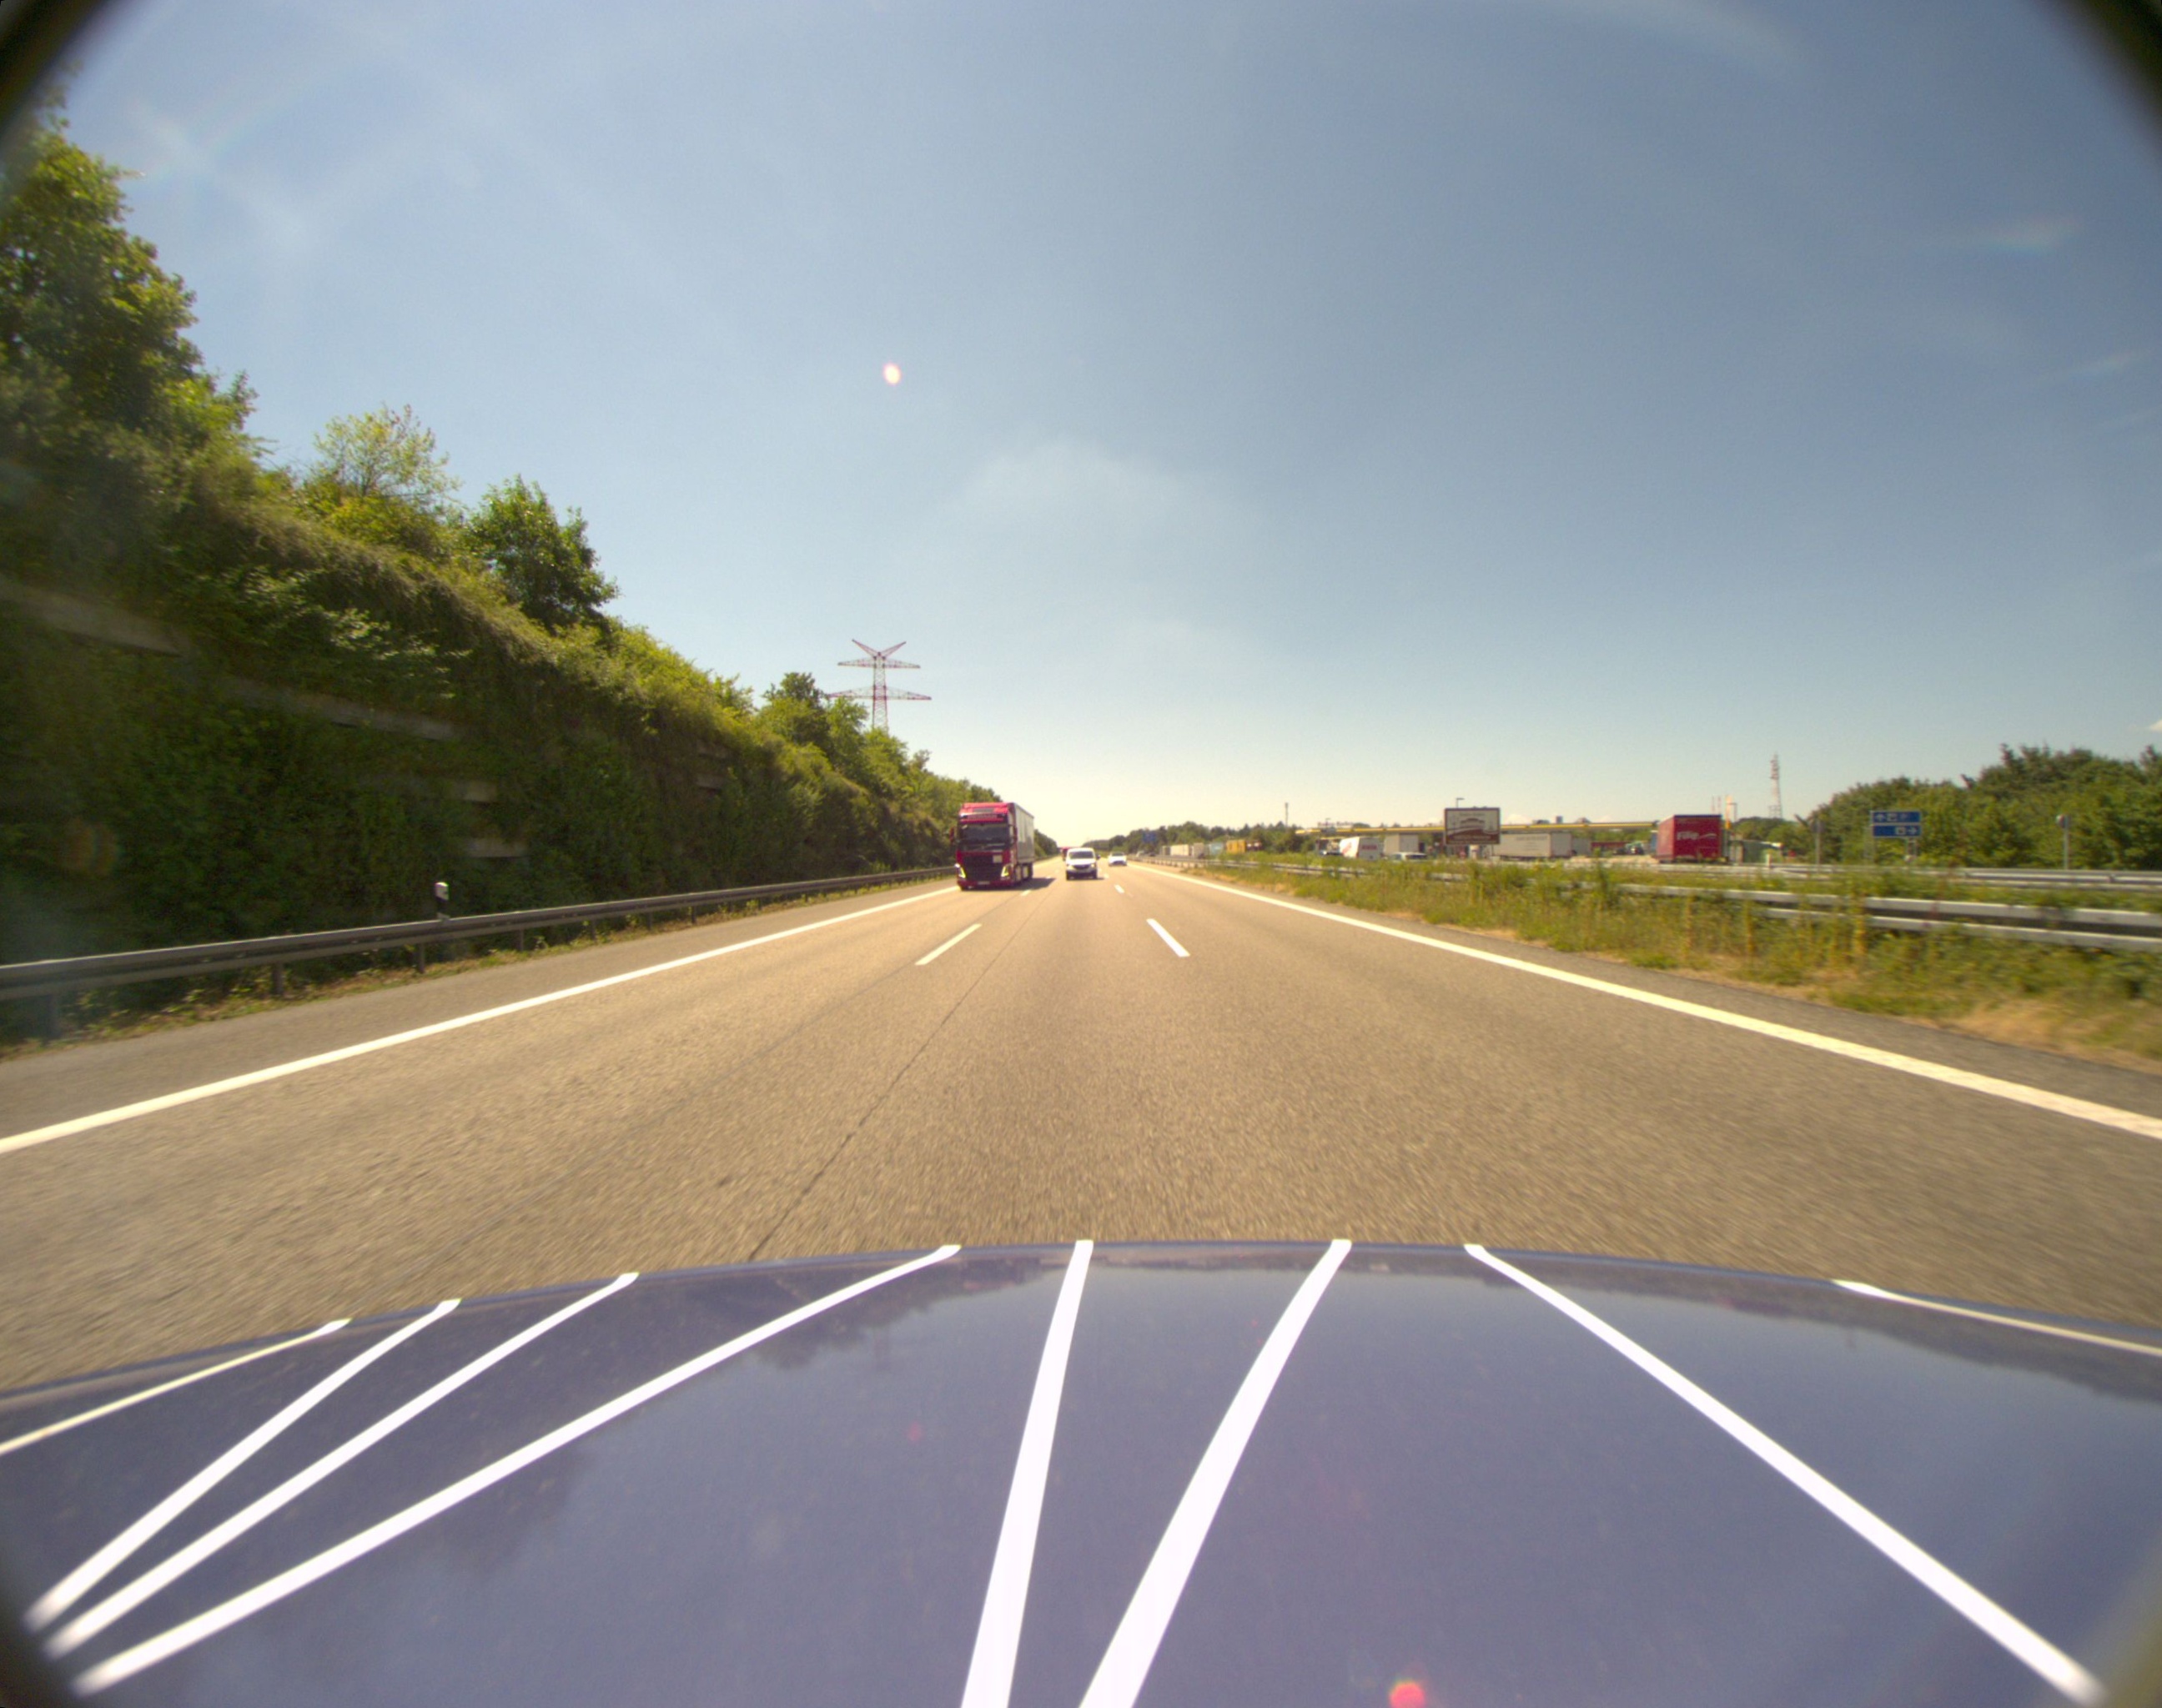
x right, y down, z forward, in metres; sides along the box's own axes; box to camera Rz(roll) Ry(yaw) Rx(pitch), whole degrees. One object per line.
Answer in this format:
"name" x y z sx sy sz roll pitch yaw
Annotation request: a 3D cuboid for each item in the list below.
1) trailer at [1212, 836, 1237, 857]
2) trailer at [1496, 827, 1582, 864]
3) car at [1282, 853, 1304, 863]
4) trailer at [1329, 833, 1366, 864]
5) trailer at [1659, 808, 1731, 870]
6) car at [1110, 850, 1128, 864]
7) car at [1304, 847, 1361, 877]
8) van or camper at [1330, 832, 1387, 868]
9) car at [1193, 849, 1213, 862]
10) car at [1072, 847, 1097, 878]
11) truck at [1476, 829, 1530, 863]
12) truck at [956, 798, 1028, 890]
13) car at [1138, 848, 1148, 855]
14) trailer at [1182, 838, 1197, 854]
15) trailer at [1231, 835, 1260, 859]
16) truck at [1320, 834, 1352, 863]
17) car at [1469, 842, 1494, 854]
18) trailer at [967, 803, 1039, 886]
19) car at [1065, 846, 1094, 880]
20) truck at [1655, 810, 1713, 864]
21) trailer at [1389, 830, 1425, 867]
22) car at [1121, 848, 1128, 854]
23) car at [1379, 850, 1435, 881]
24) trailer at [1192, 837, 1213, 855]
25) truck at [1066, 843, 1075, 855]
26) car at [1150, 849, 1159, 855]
"trailer" 31.252 -1.612 165.593 2.840 4.124 12.081 -3 0 -1
"trailer" 57.999 -1.069 96.843 3.309 4.332 12.921 -3 0 2
"car" 31.623 0.587 113.442 1.817 1.480 4.508 -3 0 0
"trailer" 44.513 -0.938 127.146 3.040 4.822 9.134 -3 1 2
"trailer" 44.927 -1.178 55.959 3.123 4.032 11.334 -2 1 34
"car" 3.980 0.280 79.774 1.775 1.410 3.401 -3 0 1
"car" 13.894 0.391 42.195 1.783 1.487 4.056 -3 0 1
"van or camper" 21.478 -0.328 59.182 2.064 2.510 6.389 -3 0 1
"car" 17.853 0.246 111.110 1.958 1.799 5.046 -3 0 -1
"car" 0.220 0.515 47.387 1.413 1.795 3.200 -3 1 0
"truck" 58.287 -1.142 105.147 3.309 4.332 7.625 -3 1 2
"truck" -4.101 -0.451 36.492 2.505 3.897 7.096 -2 1 0
"car" 13.575 -0.488 166.235 1.722 1.520 4.666 1 0 0
"trailer" 30.238 -2.118 212.302 2.605 4.194 10.513 -3 0 0
"trailer" 31.134 -1.363 144.134 2.840 4.195 11.081 -3 0 -1
"truck" 44.699 -0.981 133.396 3.033 4.822 7.878 -3 1 2
"car" 71.095 -1.012 134.850 1.817 1.976 4.782 -3 0 0
"trailer" -4.119 -0.488 43.378 2.497 3.887 14.243 -2 0 0
"car" -0.080 0.488 43.708 1.501 1.799 3.393 -3 1 0
"truck" 48.943 -1.405 61.823 3.119 4.026 6.657 -2 1 35
"trailer" 46.816 -0.858 109.353 3.306 4.846 9.692 -3 1 15
"car" 14.434 -0.977 250.276 1.977 1.637 5.016 -3 0 0
"car" 17.071 0.580 39.904 1.450 1.506 3.402 -3 1 1
"trailer" 30.266 -1.922 190.063 3.121 4.134 11.013 -3 0 -1
"truck" -3.431 -1.663 249.025 2.540 3.656 5.219 -3 1 1
"car" 17.878 -0.469 185.430 1.873 1.390 4.545 1 0 0
